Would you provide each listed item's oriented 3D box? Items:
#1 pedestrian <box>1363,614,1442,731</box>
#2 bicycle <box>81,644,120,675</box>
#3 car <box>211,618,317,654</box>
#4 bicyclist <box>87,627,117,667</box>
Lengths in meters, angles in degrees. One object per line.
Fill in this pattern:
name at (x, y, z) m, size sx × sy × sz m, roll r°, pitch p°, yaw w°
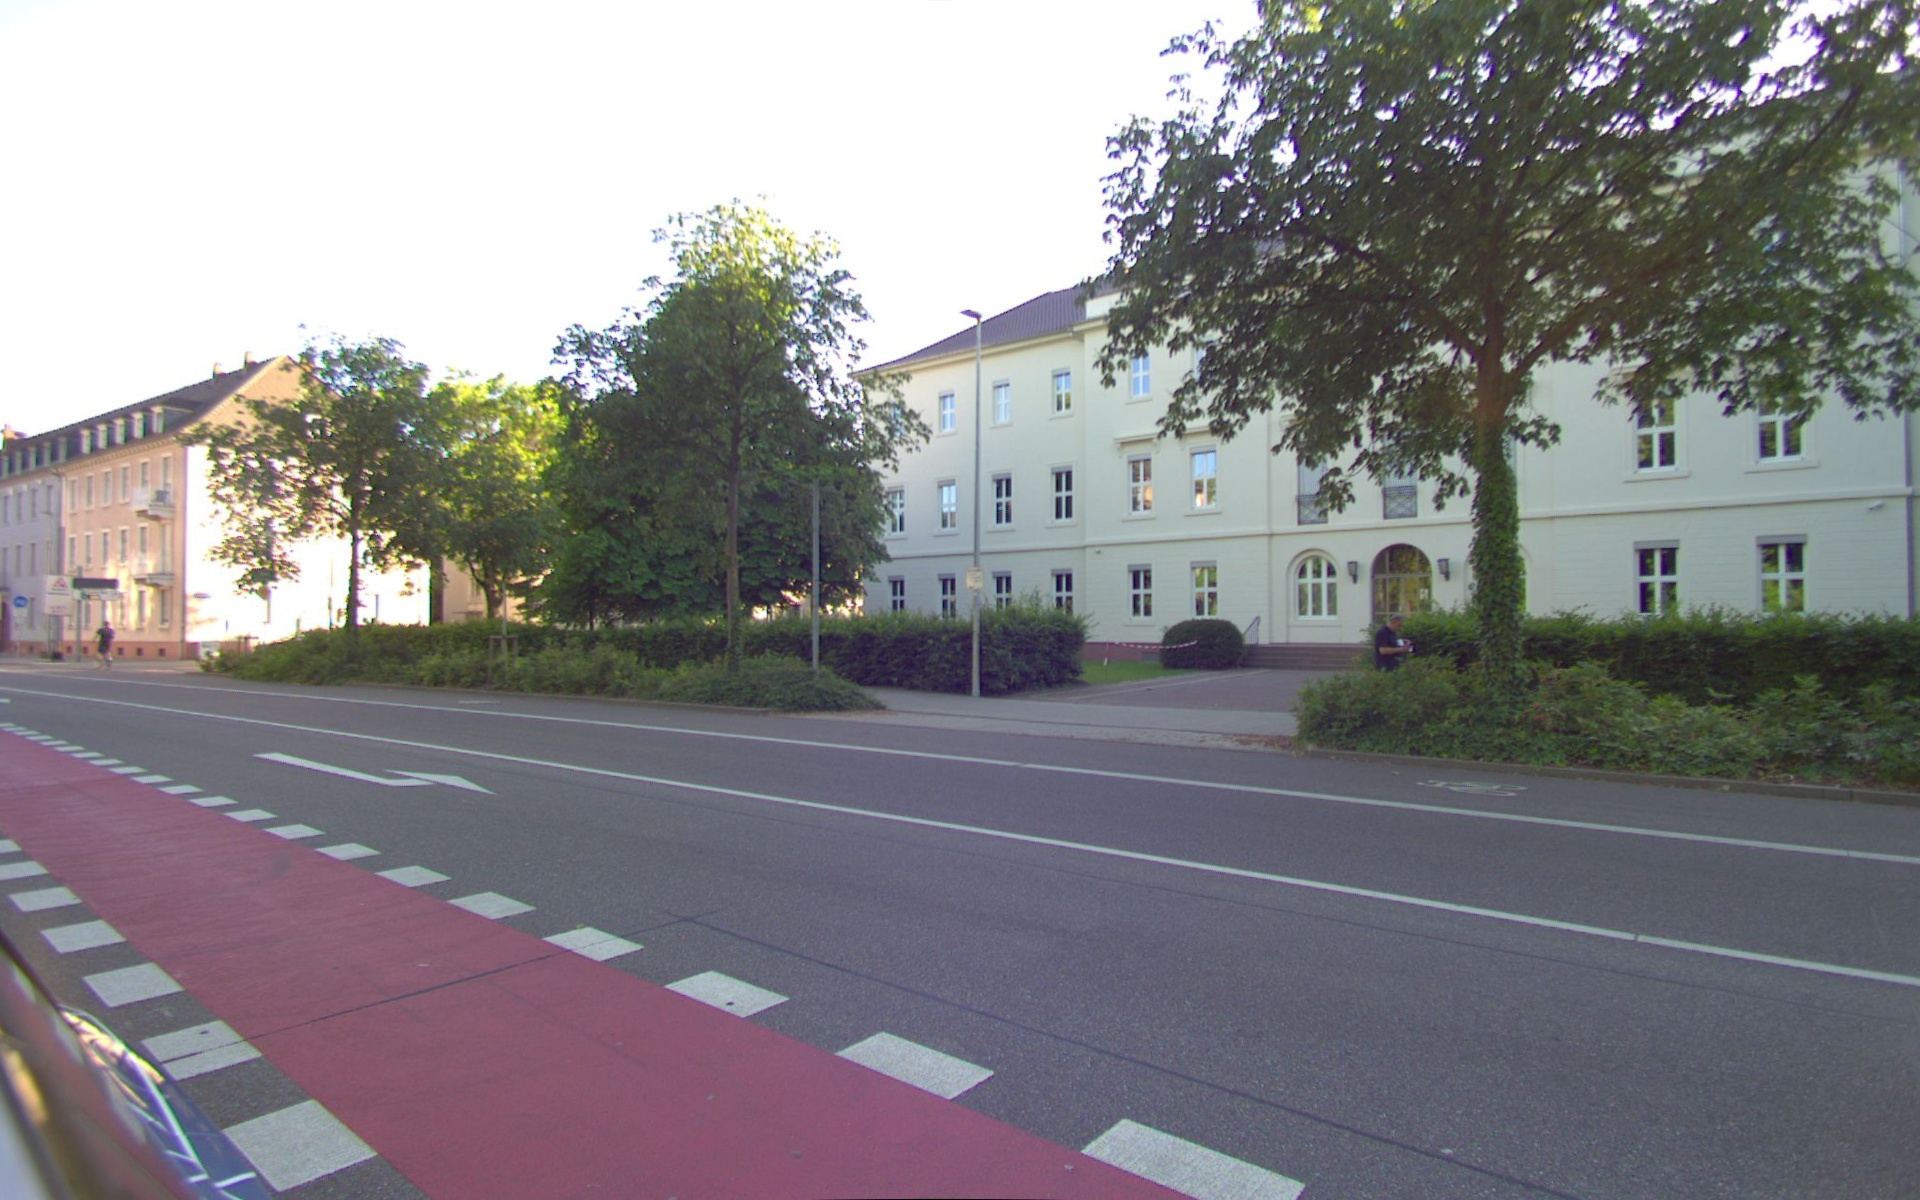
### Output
pedestrian at (6.858, 1.101, 15.680) m, size 0.966 × 1.733 × 0.827 m, roll -2°, pitch -3°, yaw 34°
bicycle at (-33.711, 2.312, 39.692) m, size 2.242 × 1.168 × 0.688 m, roll -2°, pitch -4°, yaw 38°
car at (-34.757, 1.784, 50.616) m, size 1.993 × 1.674 × 3.958 m, roll -1°, pitch -1°, yaw 31°
bicyclist at (-33.559, 1.841, 39.598) m, size 0.837 × 1.574 × 0.683 m, roll -2°, pitch -4°, yaw 37°
